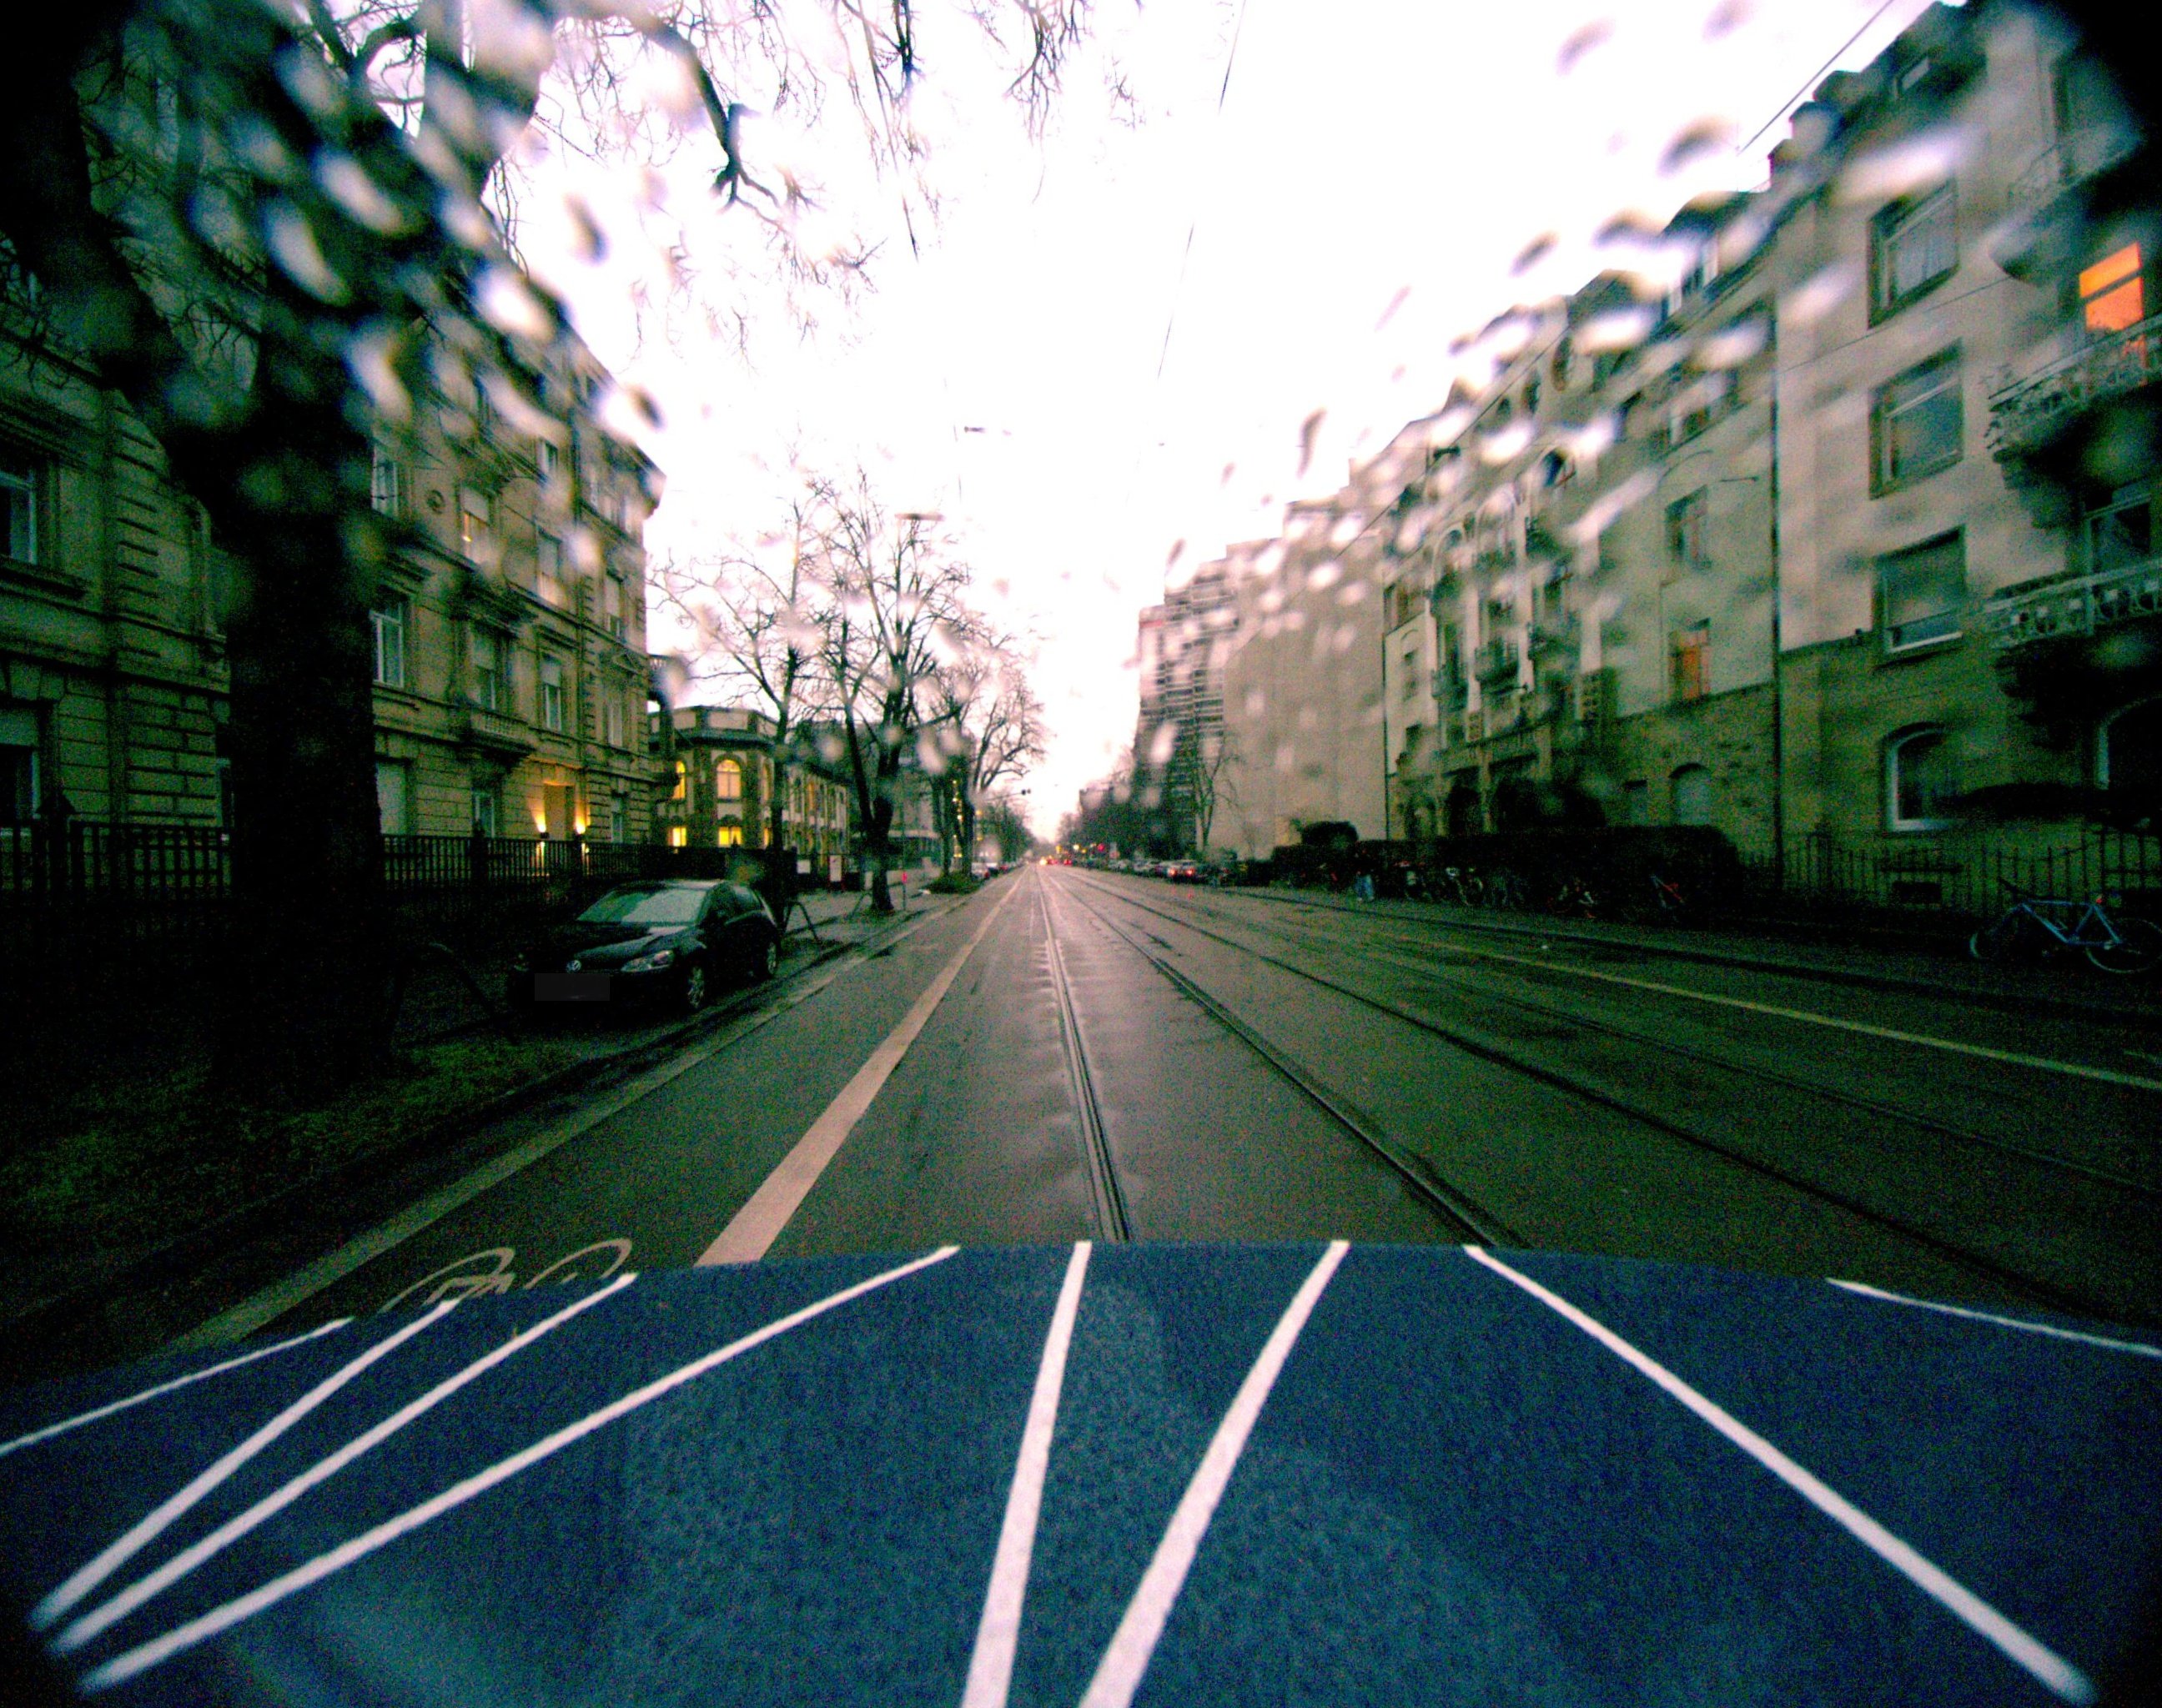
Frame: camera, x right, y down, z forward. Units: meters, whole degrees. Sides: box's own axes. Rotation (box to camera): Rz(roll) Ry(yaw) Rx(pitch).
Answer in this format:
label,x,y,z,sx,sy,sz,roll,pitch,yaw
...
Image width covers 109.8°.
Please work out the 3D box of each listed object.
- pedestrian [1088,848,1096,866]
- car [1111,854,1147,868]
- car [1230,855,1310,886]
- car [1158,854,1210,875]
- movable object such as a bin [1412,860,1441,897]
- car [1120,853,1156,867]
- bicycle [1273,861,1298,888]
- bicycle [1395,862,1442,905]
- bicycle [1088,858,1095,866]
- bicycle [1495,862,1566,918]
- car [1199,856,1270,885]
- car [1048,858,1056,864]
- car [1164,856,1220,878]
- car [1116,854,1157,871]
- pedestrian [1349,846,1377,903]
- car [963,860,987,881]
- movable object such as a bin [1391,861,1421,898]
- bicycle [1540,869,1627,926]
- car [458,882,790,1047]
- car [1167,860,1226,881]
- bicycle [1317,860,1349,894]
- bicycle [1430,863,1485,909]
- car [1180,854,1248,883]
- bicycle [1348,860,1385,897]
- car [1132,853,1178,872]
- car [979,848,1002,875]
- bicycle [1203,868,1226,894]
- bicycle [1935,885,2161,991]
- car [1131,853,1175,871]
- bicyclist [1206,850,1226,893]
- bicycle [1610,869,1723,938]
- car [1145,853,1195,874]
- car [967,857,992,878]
label,x,y,z,sx,sy,sz,roll,pitch,yaw
pedestrian,1.349,0.328,95.982,0.952,2.246,1.119,-2,1,2
car,5.784,0.808,91.442,4.008,1.586,1.864,-2,0,-40
car,10.160,0.841,40.722,4.006,1.485,1.864,-2,0,-32
car,8.233,0.836,60.531,4.008,1.586,1.864,-2,0,-40
movable object such as a bin,11.212,0.778,24.677,0.625,1.157,0.674,-1,0,-1
car,6.705,0.697,89.093,4.008,1.586,1.864,-2,0,-40
bicycle,9.076,0.911,33.822,0.625,1.157,1.662,-2,0,-1
bicycle,9.881,0.844,22.307,0.625,1.205,1.662,-1,0,-1
bicycle,1.366,0.975,96.012,0.858,0.986,1.918,-2,1,1
bicycle,10.289,0.798,17.458,0.625,1.205,1.662,-1,0,-1
car,8.727,0.907,43.088,4.008,1.477,1.760,-2,0,-40
car,-9.041,2.214,239.971,2.239,2.002,4.458,-2,1,-5
car,8.270,0.945,56.333,4.008,1.440,1.864,-2,0,-40
car,5.727,0.898,77.814,4.008,1.586,1.864,-2,0,-40
pedestrian,8.786,0.632,23.683,0.574,1.715,0.644,-3,2,1
car,-7.921,1.213,57.095,1.628,1.399,3.997,-2,1,-6
movable object such as a bin,10.542,0.819,24.648,0.659,1.157,0.674,-1,0,-1
bicycle,10.354,0.867,15.735,0.625,1.059,1.726,-1,0,-1
car,-5.097,1.118,9.253,1.763,1.437,4.156,1,-1,-4
car,7.331,1.044,48.156,3.673,1.245,1.707,0,0,-41
bicycle,9.492,0.847,28.646,0.625,1.205,1.662,-1,0,-1
bicycle,9.982,0.824,20.201,0.625,1.157,1.662,-1,0,-1
car,8.099,0.873,46.070,4.008,1.586,1.864,-2,0,-40
bicycle,9.797,0.827,26.112,0.625,1.205,1.662,-1,0,-1
car,6.824,0.792,69.511,4.008,1.586,1.864,-2,0,-40
car,-9.151,0.690,77.056,2.094,2.622,5.446,-2,1,-6
bicycle,5.981,1.176,34.059,0.625,1.086,1.947,-1,0,-1
bicycle,10.766,0.877,8.465,0.625,0.997,1.662,-1,0,-1
car,6.910,0.769,72.642,4.008,1.586,1.864,-2,0,-40
bicyclist,5.994,0.780,33.770,0.625,1.865,0.991,-1,0,-1
bicycle,10.453,0.844,13.654,0.625,1.119,1.783,-1,0,-1
car,7.391,0.783,63.095,4.008,1.586,1.864,-2,0,-40
car,-8.904,1.199,67.052,2.000,1.672,3.997,-2,1,-6
